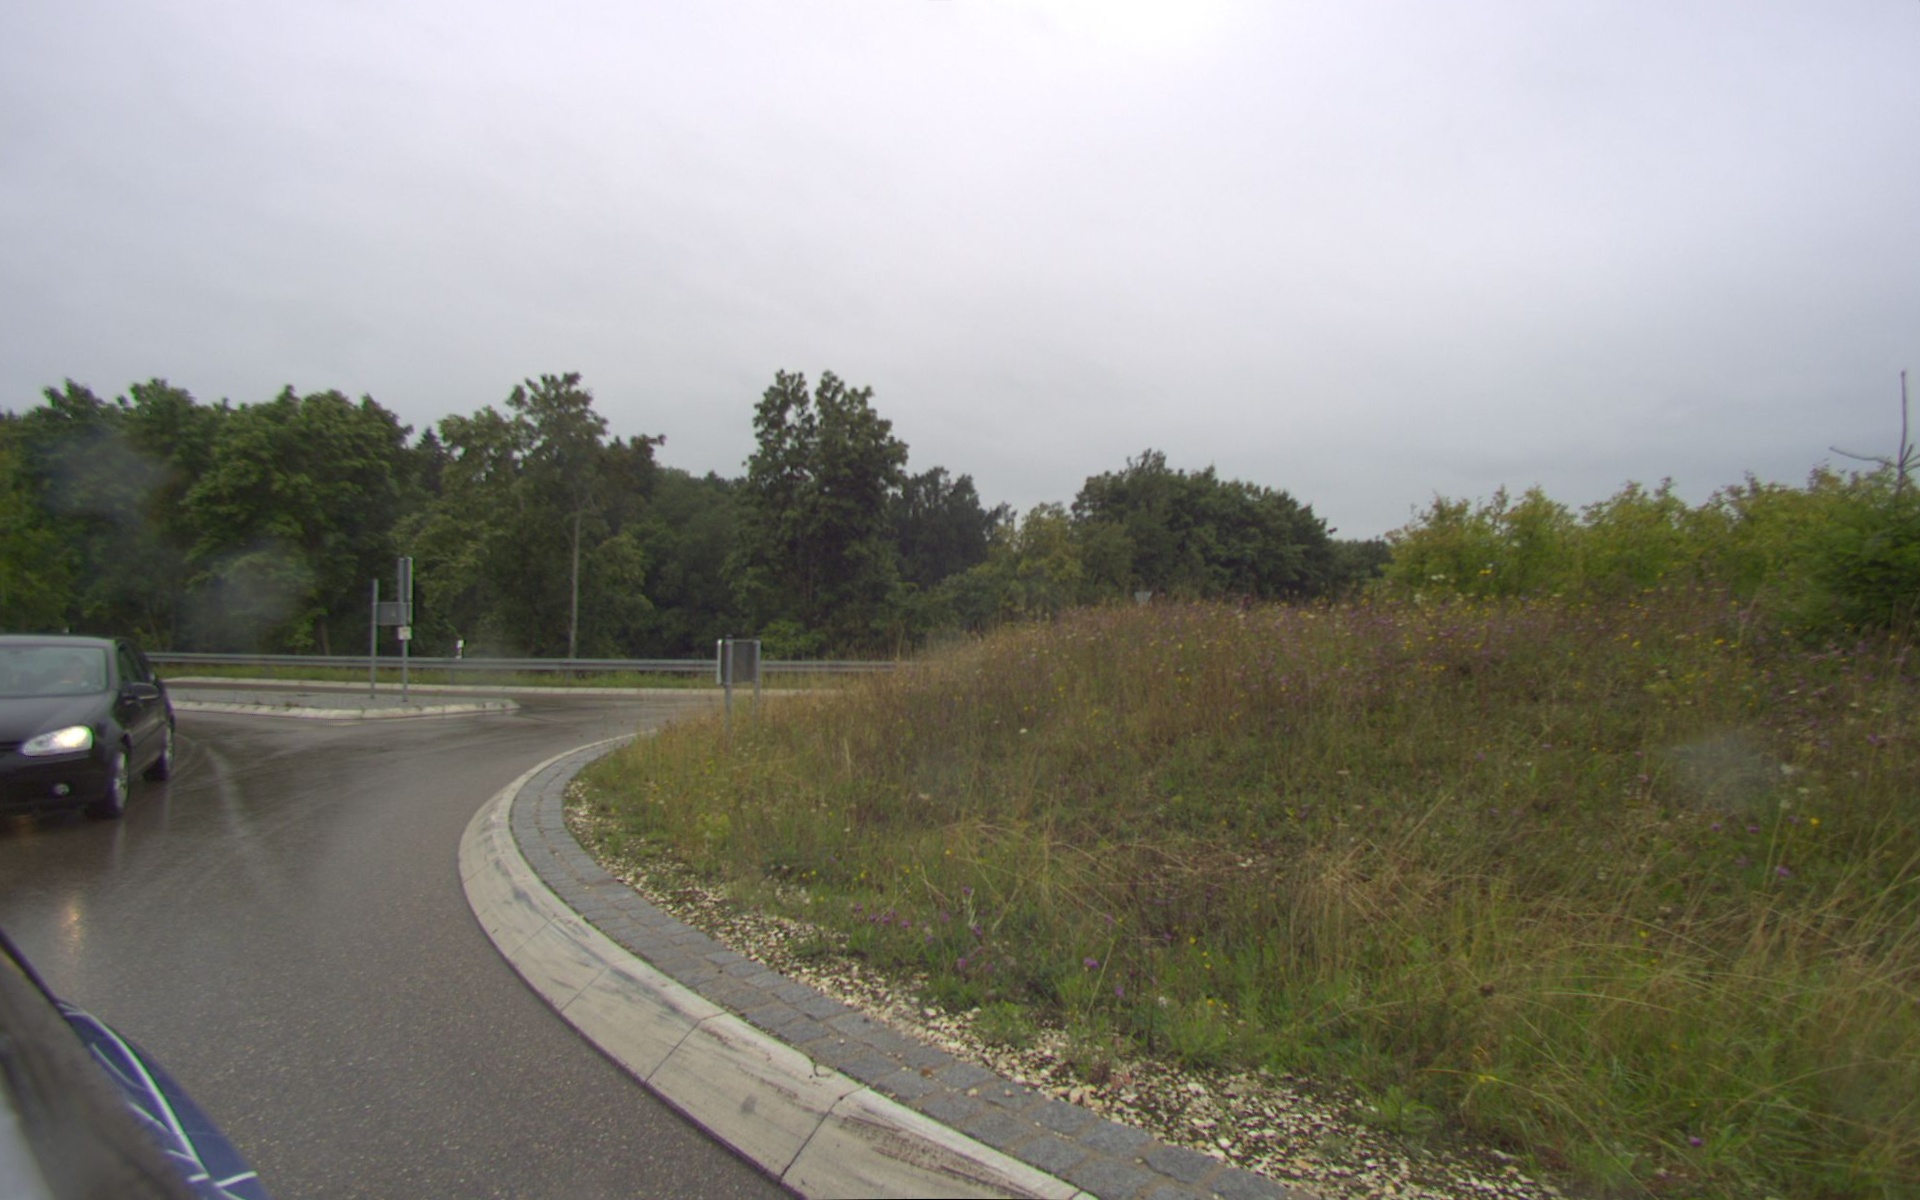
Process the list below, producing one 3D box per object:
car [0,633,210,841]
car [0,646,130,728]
[{"bbox_3d":[-8.001,1.029,8.778,1.842,1.432,4.517,2,-3,-30],"label":"car"},{"bbox_3d":[-17.643,1.591,19.011,4.491,1.382,1.928,-3,-4,34],"label":"car"}]
